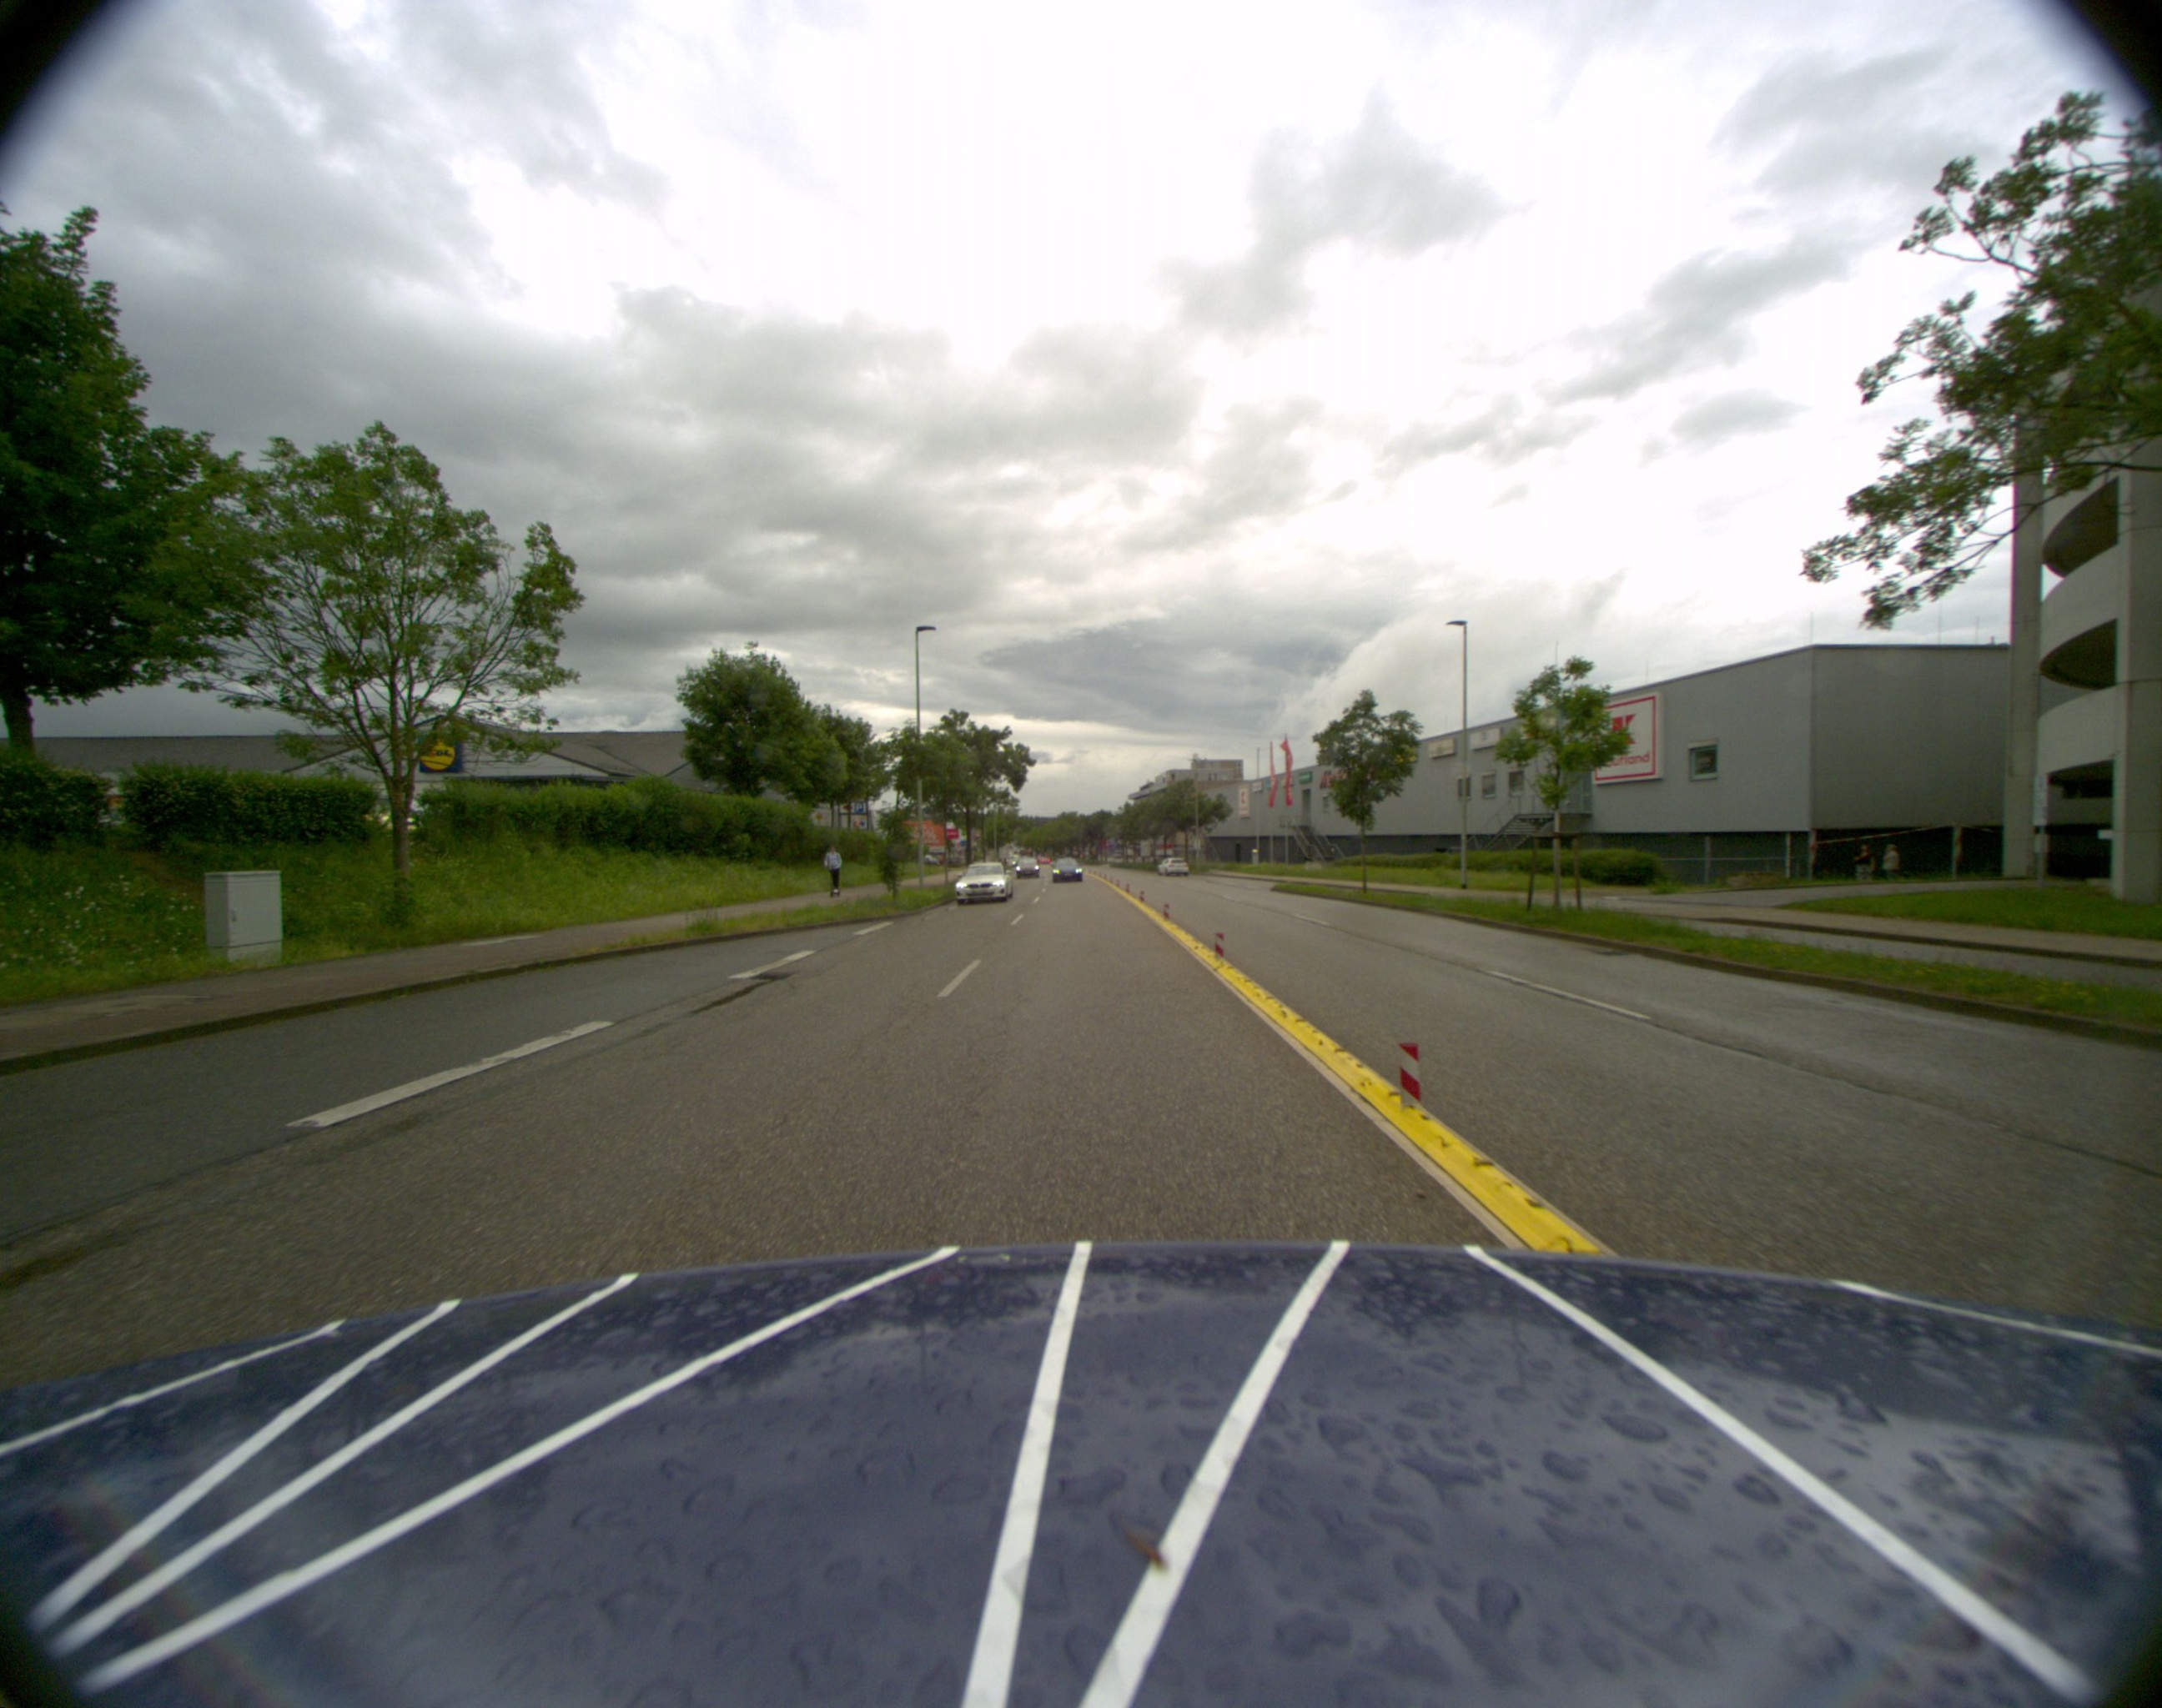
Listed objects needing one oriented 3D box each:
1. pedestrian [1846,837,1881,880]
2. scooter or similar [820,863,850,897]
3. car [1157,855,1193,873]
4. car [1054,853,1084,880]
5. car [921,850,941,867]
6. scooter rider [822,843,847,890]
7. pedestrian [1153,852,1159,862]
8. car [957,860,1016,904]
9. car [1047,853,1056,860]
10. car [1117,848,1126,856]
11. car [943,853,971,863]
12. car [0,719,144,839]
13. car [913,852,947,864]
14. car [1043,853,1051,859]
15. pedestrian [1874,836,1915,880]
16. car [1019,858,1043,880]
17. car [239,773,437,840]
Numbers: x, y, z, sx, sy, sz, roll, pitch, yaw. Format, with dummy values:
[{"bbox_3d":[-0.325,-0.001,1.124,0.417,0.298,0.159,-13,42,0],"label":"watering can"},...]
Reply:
[{"bbox_3d":[29.385,0.161,28.533,0.450,1.566,0.862,-3,1,9],"label":"pedestrian"},{"bbox_3d":[-9.730,1.007,30.089,0.696,1.256,1.400,1,1,0],"label":"scooter or similar"},{"bbox_3d":[7.618,0.773,61.795,1.905,1.400,4.421,0,0,-6],"label":"car"},{"bbox_3d":[-0.754,0.763,48.399,1.799,1.572,4.218,-3,0,-1],"label":"car"},{"bbox_3d":[-23.979,0.722,121.811,2.233,2.522,5.679,-3,0,-4],"label":"car"},{"bbox_3d":[-9.722,0.488,30.042,0.696,1.810,0.858,1,1,0],"label":"scooter rider"},{"bbox_3d":[11.107,0.432,112.421,0.586,1.574,0.766,-3,1,-4],"label":"pedestrian"},{"bbox_3d":[-3.531,1.009,29.171,1.808,1.432,4.540,-3,0,-3],"label":"car"},{"bbox_3d":[-6.835,0.587,175.173,1.789,1.398,4.613,0,0,-7],"label":"car"},{"bbox_3d":[10.807,-0.553,202.171,1.999,2.002,4.884,-5,1,-1],"label":"car"},{"bbox_3d":[-22.827,0.700,139.976,4.665,1.591,1.927,2,0,4],"label":"car"},{"bbox_3d":[-22.124,-1.459,14.373,5.625,2.130,2.120,2,1,-7],"label":"car"},{"bbox_3d":[-19.460,0.531,97.930,4.107,1.430,1.795,-1,-2,-18],"label":"car"},{"bbox_3d":[-8.189,0.549,182.205,1.746,1.398,3.997,0,0,-7],"label":"car"},{"bbox_3d":[29.474,0.138,27.537,0.450,1.566,0.860,-3,1,-14],"label":"pedestrian"},{"bbox_3d":[-3.985,1.167,61.045,1.799,1.572,4.217,-3,0,-3],"label":"car"},{"bbox_3d":[-21.385,-1.332,21.971,3.996,1.726,1.865,2,1,3],"label":"car"}]
